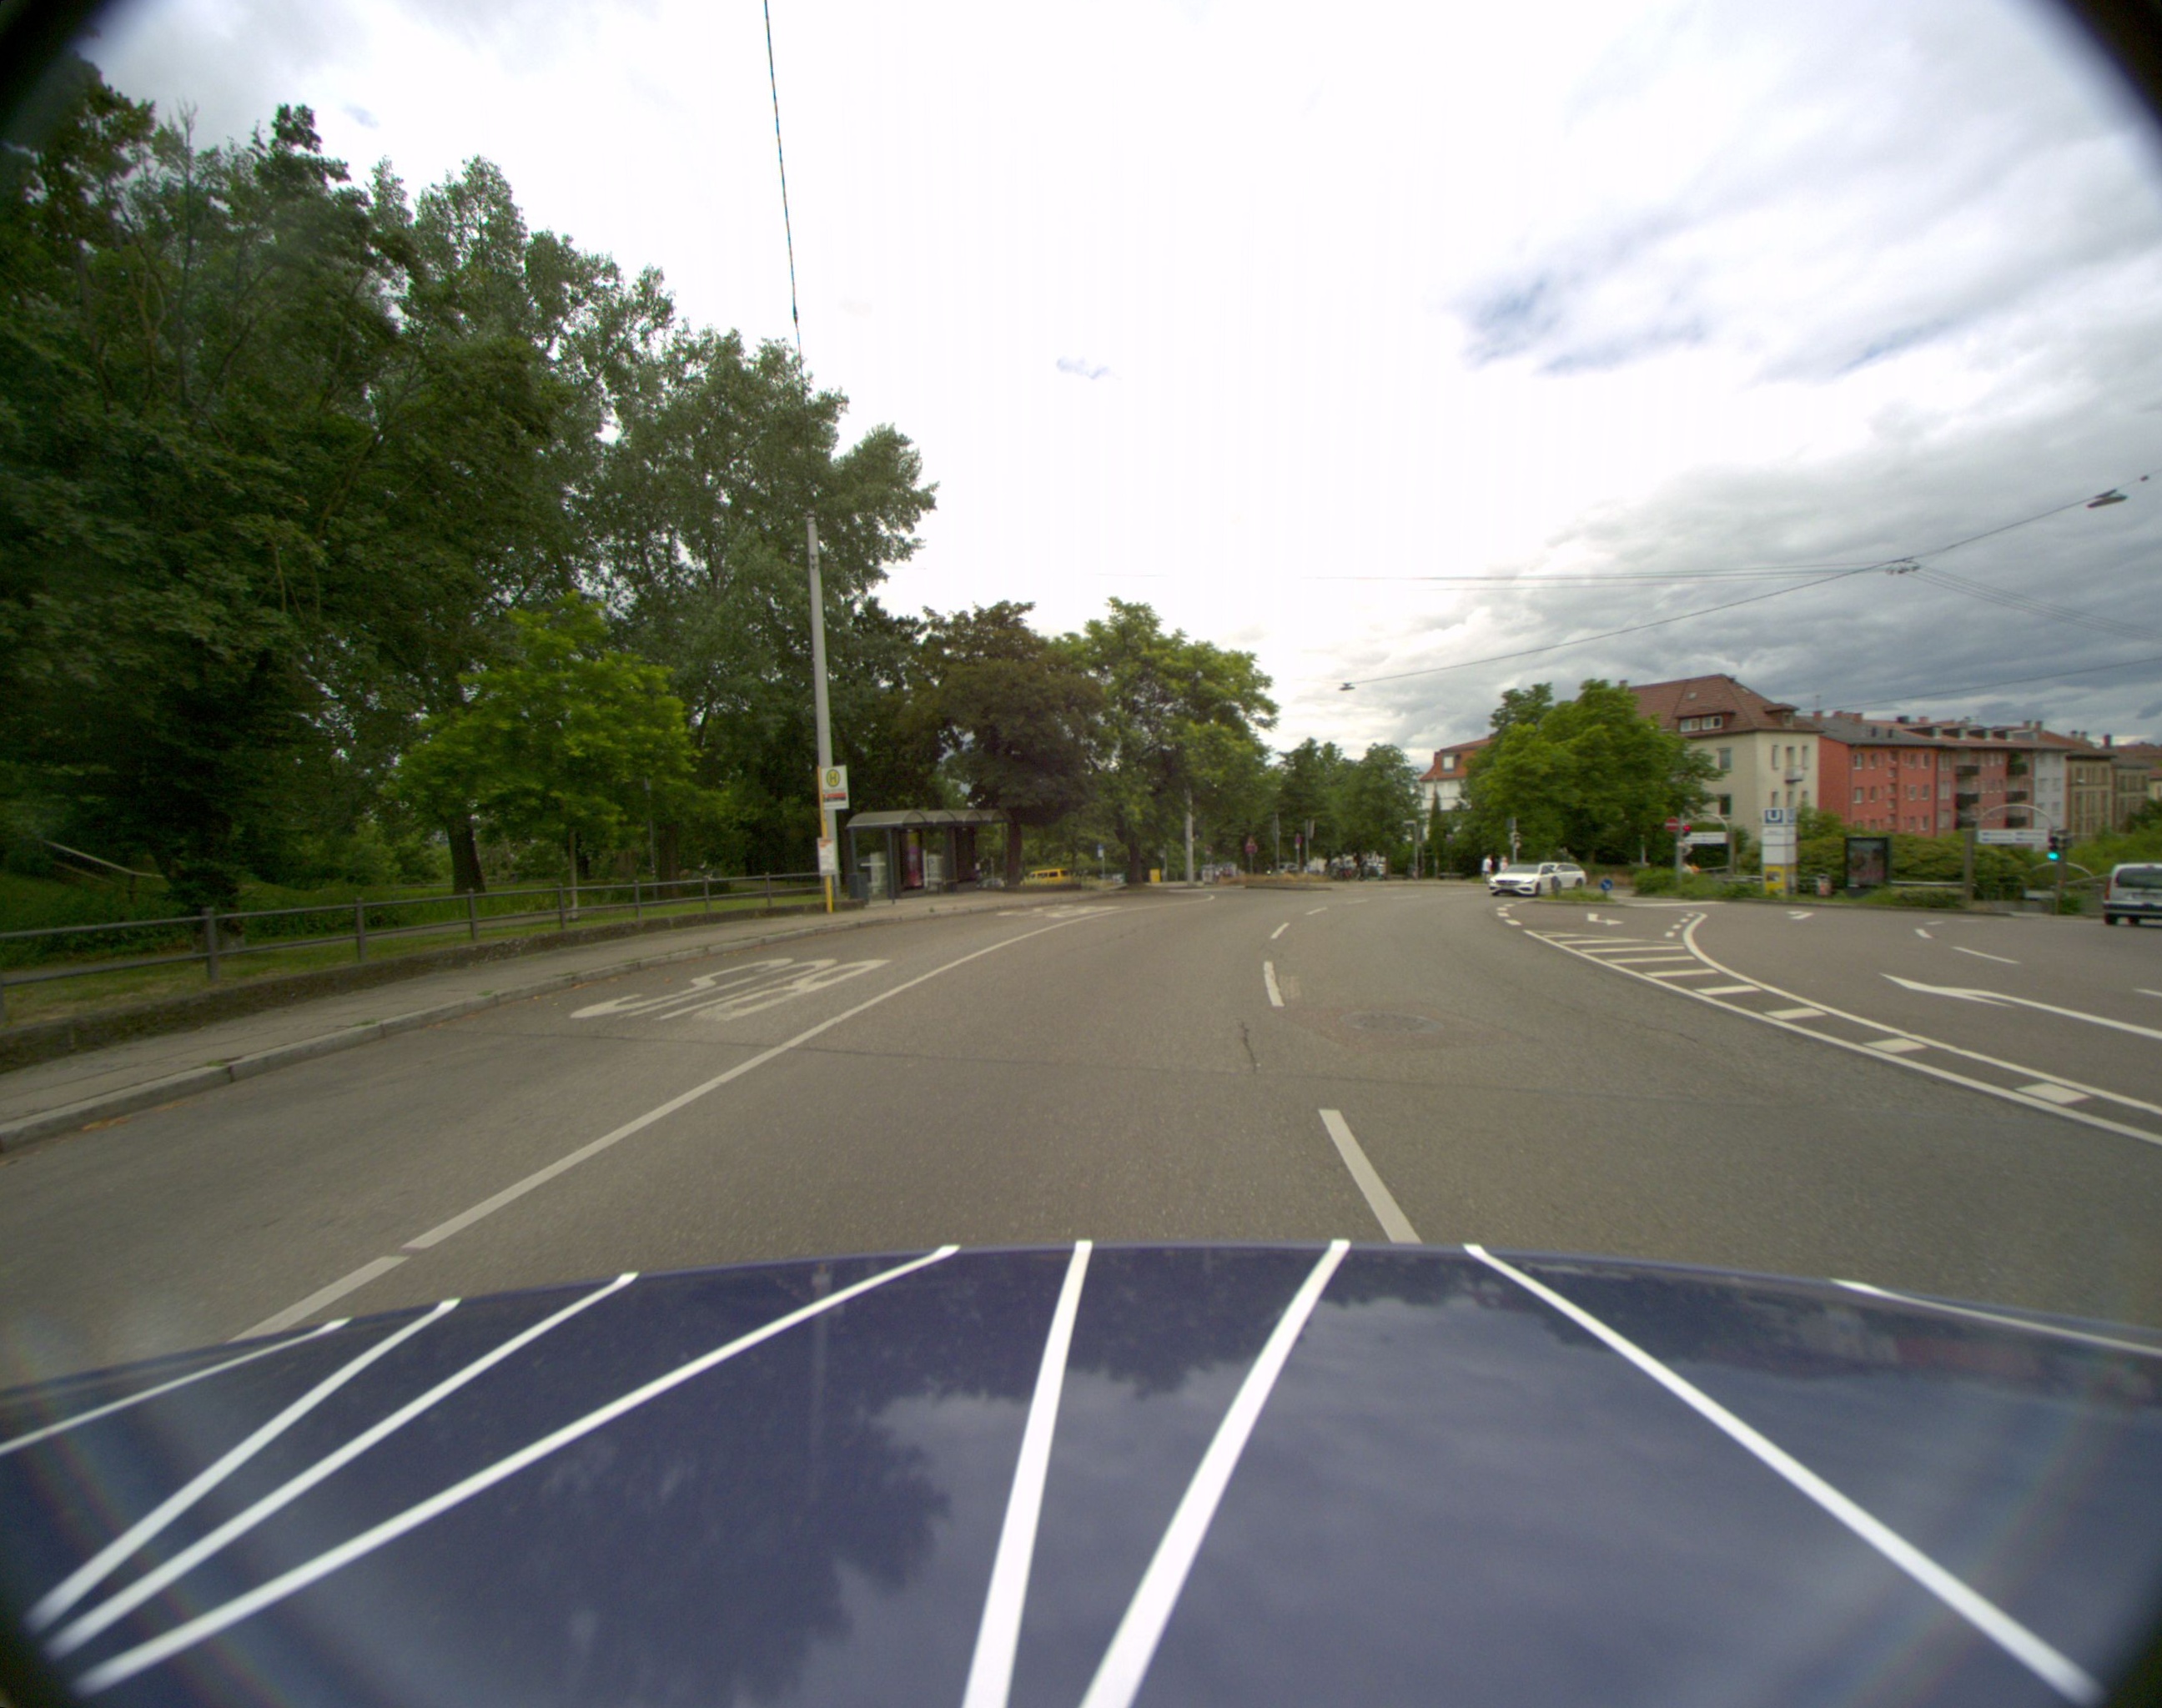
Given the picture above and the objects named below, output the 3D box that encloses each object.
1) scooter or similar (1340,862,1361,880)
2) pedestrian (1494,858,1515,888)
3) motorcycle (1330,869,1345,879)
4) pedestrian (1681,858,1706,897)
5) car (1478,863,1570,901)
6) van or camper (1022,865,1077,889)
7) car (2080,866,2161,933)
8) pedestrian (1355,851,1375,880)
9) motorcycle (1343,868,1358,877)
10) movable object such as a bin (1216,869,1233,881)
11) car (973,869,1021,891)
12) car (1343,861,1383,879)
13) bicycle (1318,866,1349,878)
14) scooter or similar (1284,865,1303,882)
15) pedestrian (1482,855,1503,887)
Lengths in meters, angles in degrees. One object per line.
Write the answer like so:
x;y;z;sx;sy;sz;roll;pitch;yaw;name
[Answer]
18.622;1.187;52.481;1.244;1.218;0.502;-2;-2;43;scooter or similar
24.078;1.078;43.184;0.728;1.703;0.615;1;3;-22;pedestrian
27.759;2.165;82.230;0.753;1.027;2.060;0;-1;44;motorcycle
29.367;1.122;36.423;0.615;1.849;0.706;2;-2;-19;pedestrian
18.982;1.146;32.467;4.239;1.390;1.994;1;2;-40;car
-2.787;2.027;67.131;4.459;1.966;1.893;-2;0;31;van or camper
31.190;1.260;21.985;4.044;1.819;1.914;0;-1;-24;car
18.560;0.778;49.633;0.857;1.875;0.964;0;-1;-8;pedestrian
28.906;1.987;81.586;0.753;1.027;2.060;0;-1;44;motorcycle
14.143;2.083;75.054;1.316;1.159;1.060;1;0;-18;movable object such as a bin
-7.729;2.370;69.941;3.989;2.001;2.004;0;-1;29;car
31.572;1.746;85.045;3.776;2.001;2.004;0;-1;37;car
25.833;1.839;77.860;2.955;1.138;0.922;1;0;-11;bicycle
16.155;1.488;57.866;1.319;1.240;0.464;0;0;-4;scooter or similar
22.847;0.937;42.180;0.728;1.703;0.615;1;3;-22;pedestrian
